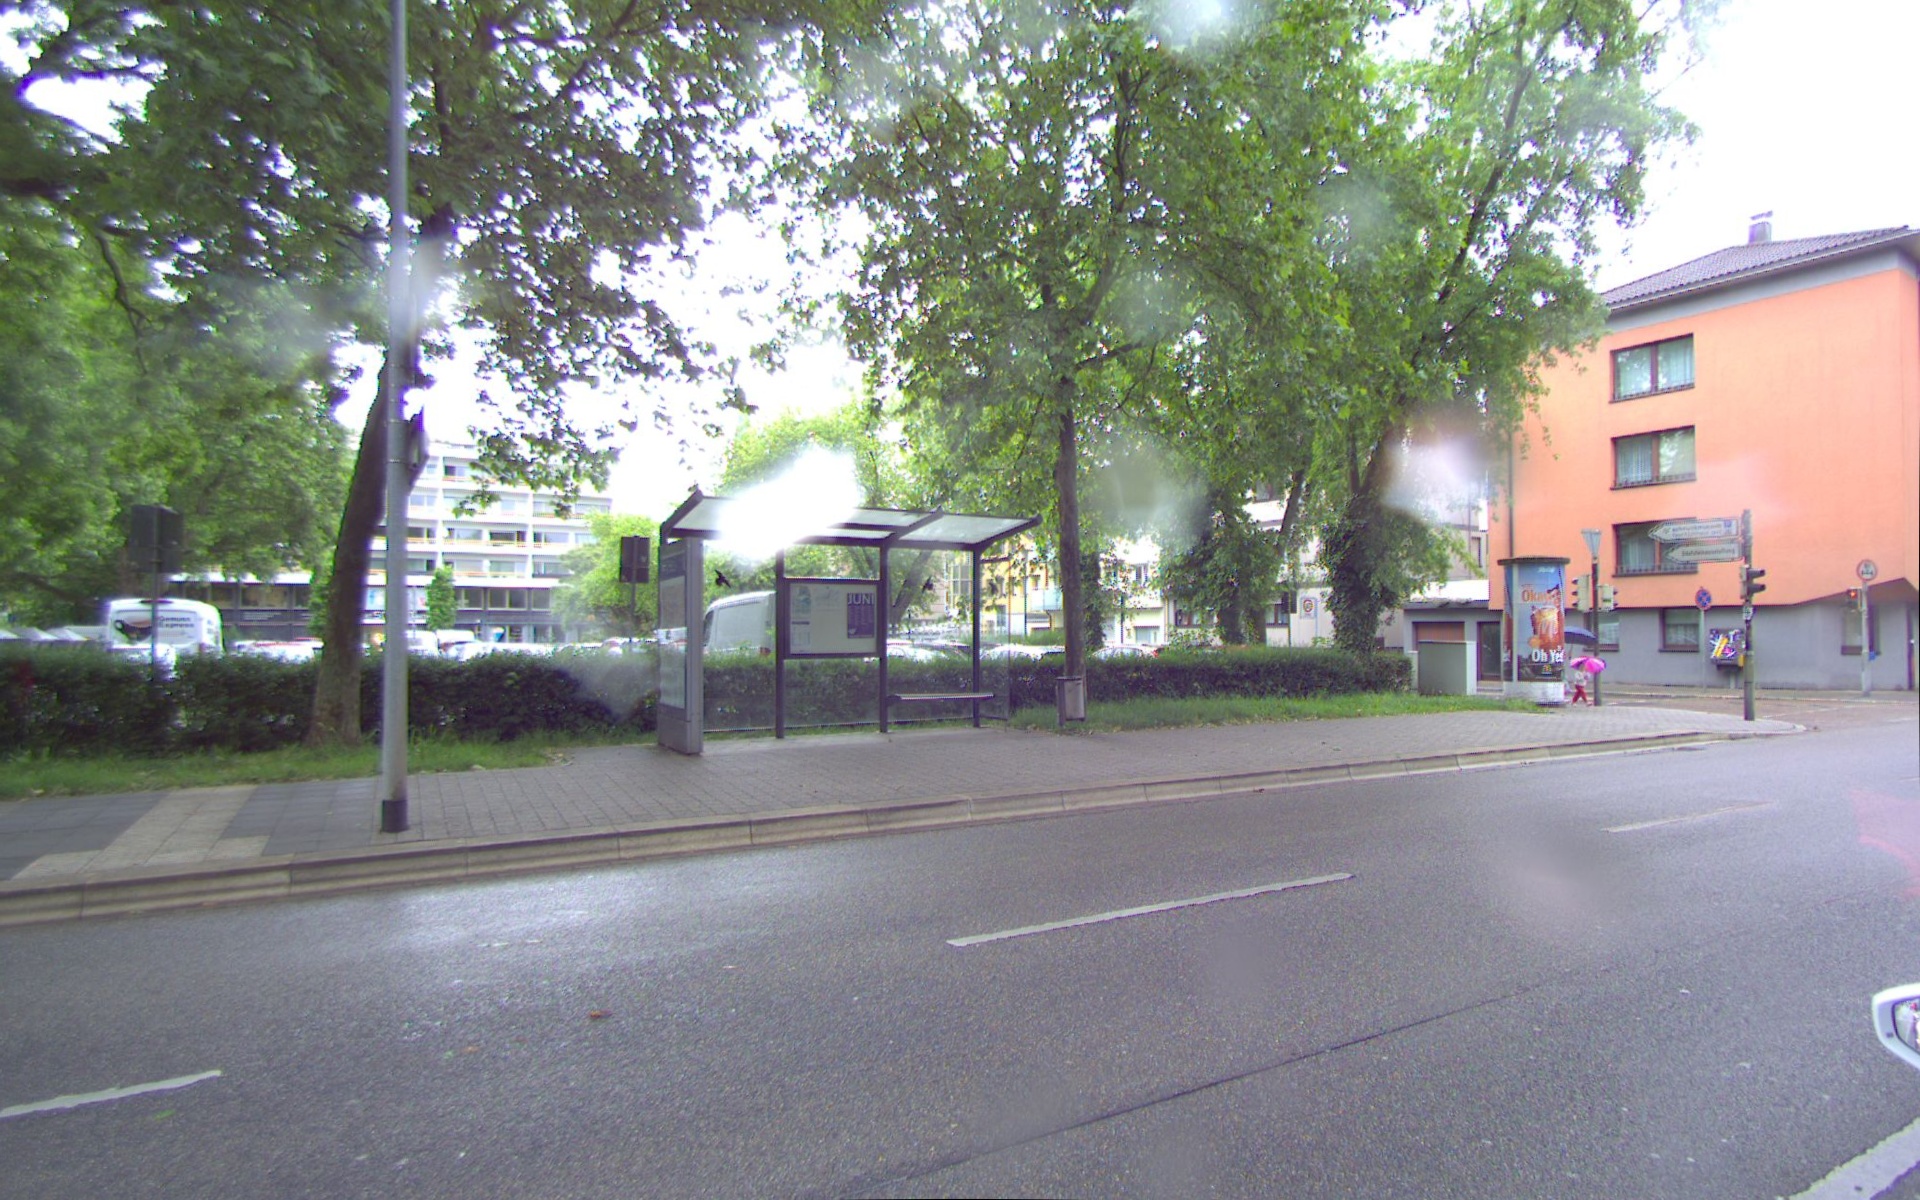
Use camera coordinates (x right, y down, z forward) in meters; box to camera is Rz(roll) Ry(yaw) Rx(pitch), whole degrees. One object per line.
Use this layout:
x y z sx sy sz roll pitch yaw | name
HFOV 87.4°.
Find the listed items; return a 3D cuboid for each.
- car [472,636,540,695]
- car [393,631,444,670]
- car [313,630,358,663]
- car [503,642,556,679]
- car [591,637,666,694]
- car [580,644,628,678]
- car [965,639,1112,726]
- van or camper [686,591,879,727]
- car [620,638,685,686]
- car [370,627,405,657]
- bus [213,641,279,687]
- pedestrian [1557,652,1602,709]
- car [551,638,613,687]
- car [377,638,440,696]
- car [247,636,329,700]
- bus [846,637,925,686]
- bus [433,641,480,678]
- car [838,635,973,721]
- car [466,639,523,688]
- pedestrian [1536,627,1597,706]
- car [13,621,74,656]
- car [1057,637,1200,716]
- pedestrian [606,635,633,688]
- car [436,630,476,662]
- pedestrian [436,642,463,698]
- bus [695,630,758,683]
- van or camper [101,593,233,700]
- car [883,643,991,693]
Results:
-12.088 1.712 26.652 1.375 1.454 3.248 1 -3 -29 | car
-20.898 1.946 38.692 1.587 1.447 3.293 2 -3 -30 | car
-31.417 2.312 50.589 1.818 1.444 3.799 2 0 -31 | car
-17.693 2.454 41.242 1.587 1.447 3.293 2 -3 -30 | car
-9.109 1.760 27.508 1.375 1.454 3.248 1 -3 -29 | car
-15.194 2.579 42.833 1.332 1.401 3.141 2 -3 -30 | car
1.586 1.660 21.174 1.492 1.544 3.174 2 0 -32 | car
-3.427 1.059 18.696 2.026 2.198 4.458 2 -3 -32 | van or camper
-9.990 1.981 32.477 1.375 1.454 3.248 1 -3 -29 | car
-33.039 2.399 57.920 1.622 1.544 3.174 1 1 -32 | car
-25.546 2.272 36.021 1.587 1.559 3.403 2 -3 -30 | bus
13.996 1.806 22.724 0.673 1.190 0.827 1 0 18 | pedestrian
-11.955 1.957 31.684 1.375 1.454 3.248 1 -3 -29 | car
-14.731 1.751 26.854 1.375 1.454 3.248 1 -3 -29 | car
-16.509 1.638 24.794 1.375 1.454 3.248 1 -3 -29 | car
-2.358 1.896 31.376 1.364 1.451 2.777 2 -3 -30 | bus
-22.368 2.610 44.575 1.587 1.559 3.403 2 -3 -30 | bus
-1.209 1.576 21.190 1.492 1.544 3.174 2 0 -32 | car
-14.539 1.953 31.284 1.375 1.454 3.248 1 -3 -29 | car
14.297 1.545 23.716 0.975 1.765 1.209 1 0 18 | pedestrian
-40.847 1.693 44.834 1.412 1.447 2.941 1 0 -30 | car
3.807 1.685 23.044 1.492 1.544 3.174 2 0 -32 | car
-8.012 1.439 23.645 0.462 1.229 0.434 2 0 -37 | pedestrian
-27.139 2.458 54.011 1.622 1.544 3.174 2 0 -32 | car
-11.545 1.581 22.715 0.462 1.229 0.434 2 0 -37 | pedestrian
-7.827 1.866 33.526 1.363 1.698 2.779 1 -3 -28 | bus
-20.696 1.221 26.426 2.074 2.570 4.392 1 -3 -30 | van or camper
-0.830 2.226 33.521 1.799 1.536 3.965 2 -3 -33 | car
